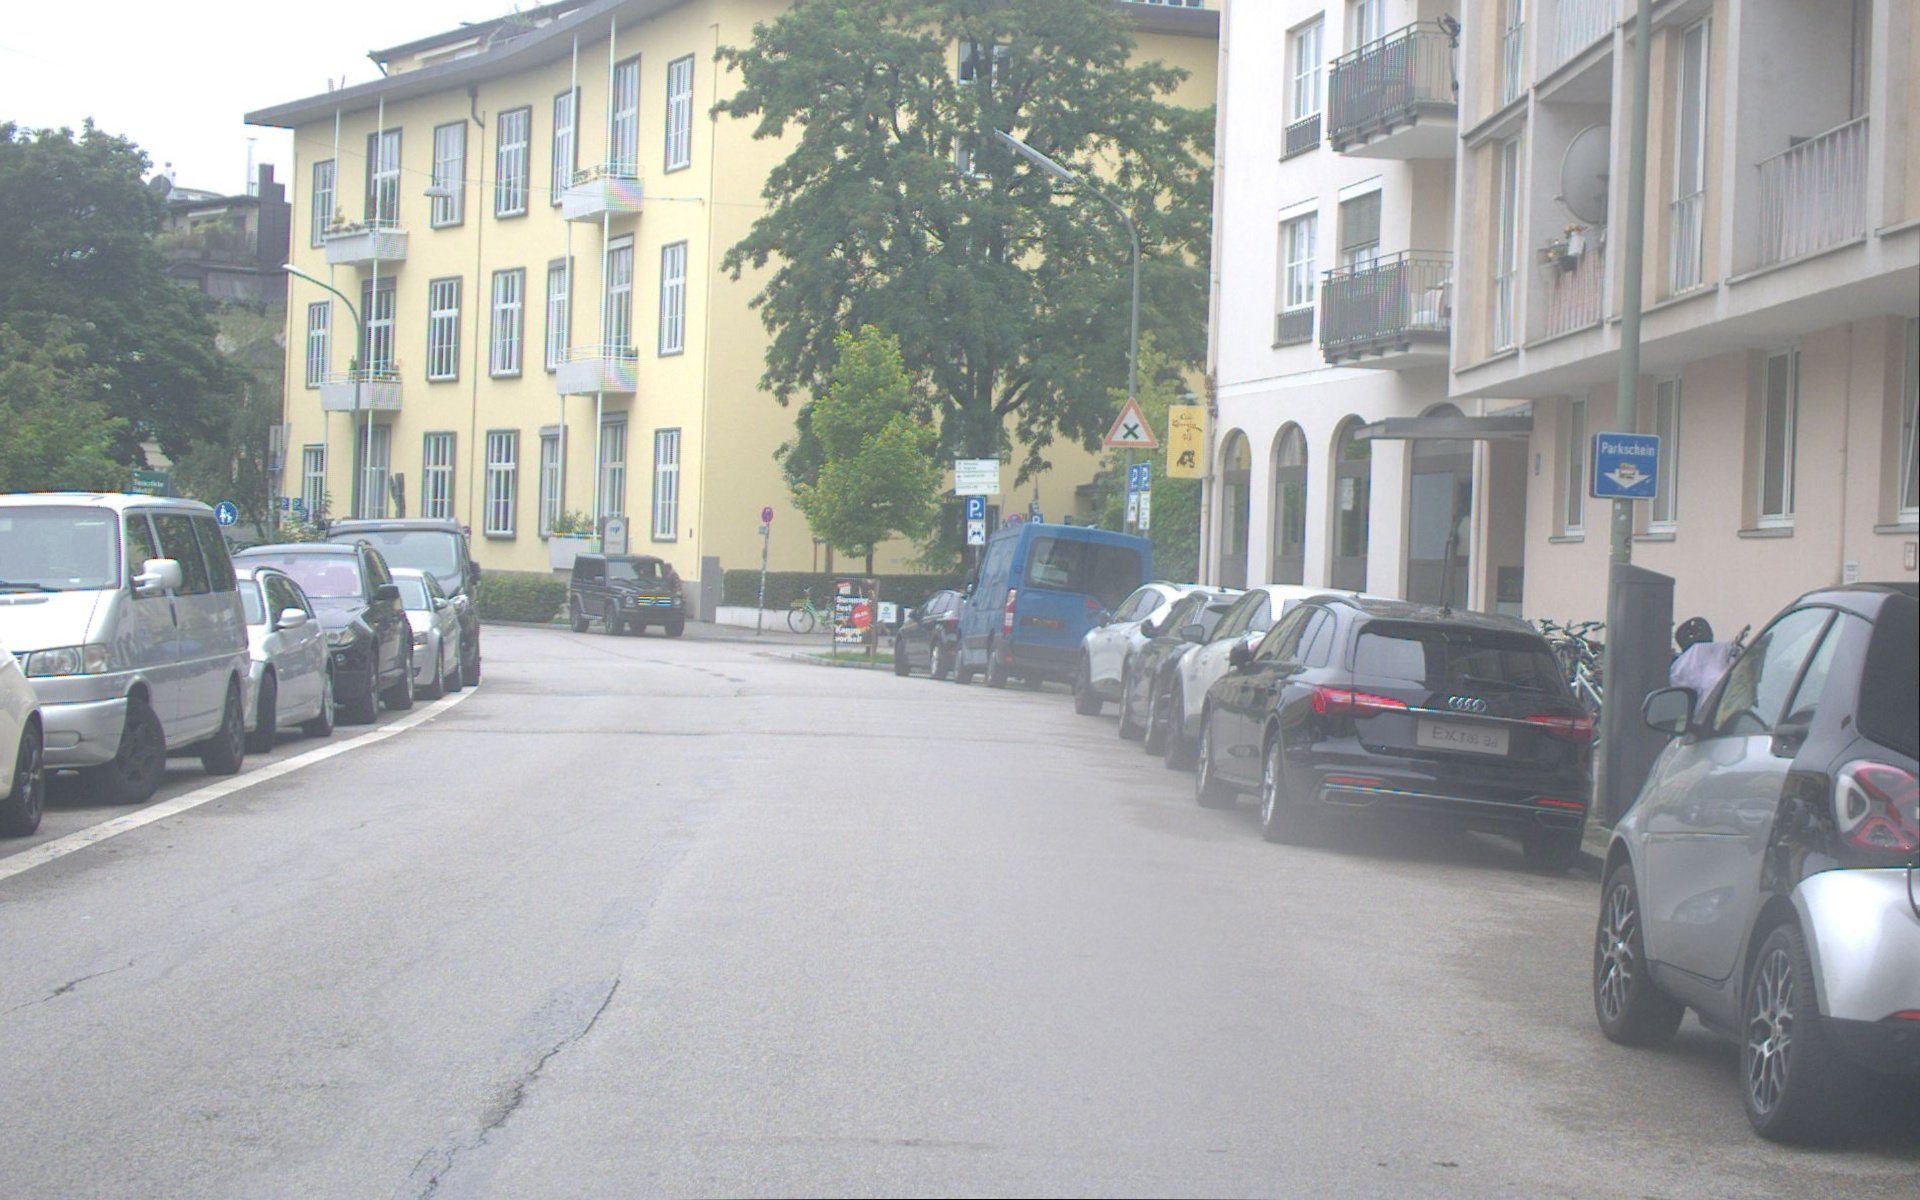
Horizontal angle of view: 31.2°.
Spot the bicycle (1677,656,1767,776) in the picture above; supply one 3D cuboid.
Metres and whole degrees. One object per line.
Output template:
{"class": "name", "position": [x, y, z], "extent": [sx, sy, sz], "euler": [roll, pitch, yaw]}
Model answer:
{"class": "bicycle", "position": [6.257, 0.942, 28.259], "extent": [0.378, 0.902, 1.392], "euler": [2, 1, -1]}

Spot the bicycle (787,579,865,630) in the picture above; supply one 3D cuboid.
{"class": "bicycle", "position": [-3.330, 0.105, 85.401], "extent": [1.926, 1.197, 0.594], "euler": [3, 1, 35]}

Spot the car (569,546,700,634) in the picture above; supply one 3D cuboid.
{"class": "car", "position": [-8.028, -0.257, 84.335], "extent": [1.762, 1.868, 4.380], "euler": [6, 0, -23]}

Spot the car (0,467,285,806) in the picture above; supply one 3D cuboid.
{"class": "car", "position": [-5.648, 0.199, 21.612], "extent": [1.887, 1.883, 4.774], "euler": [-1, 0, -1]}

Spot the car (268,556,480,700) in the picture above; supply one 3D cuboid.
{"class": "car", "position": [-6.316, 0.256, 37.458], "extent": [1.694, 1.388, 4.501], "euler": [-3, 1, -3]}

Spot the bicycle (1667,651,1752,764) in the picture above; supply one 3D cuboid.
{"class": "bicycle", "position": [6.460, 0.916, 29.665], "extent": [0.378, 0.902, 1.392], "euler": [2, 1, -1]}

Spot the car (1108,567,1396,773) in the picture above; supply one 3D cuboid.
{"class": "car", "position": [2.525, 0.554, 30.997], "extent": [1.880, 1.517, 5.164], "euler": [5, 1, -2]}

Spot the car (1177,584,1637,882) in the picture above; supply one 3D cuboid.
{"class": "car", "position": [2.571, 0.711, 21.020], "extent": [1.745, 1.383, 4.954], "euler": [6, 0, -4]}

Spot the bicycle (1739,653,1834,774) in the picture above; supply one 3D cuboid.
{"class": "bicycle", "position": [6.699, 0.906, 27.896], "extent": [0.378, 0.902, 1.392], "euler": [2, 1, -1]}

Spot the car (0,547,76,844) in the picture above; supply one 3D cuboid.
{"class": "car", "position": [-5.438, 0.473, 16.405], "extent": [1.591, 1.436, 4.019], "euler": [-1, 1, -3]}

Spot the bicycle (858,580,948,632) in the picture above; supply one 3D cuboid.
{"class": "bicycle", "position": [-1.400, 0.144, 84.260], "extent": [2.068, 1.197, 0.595], "euler": [2, 1, 12]}

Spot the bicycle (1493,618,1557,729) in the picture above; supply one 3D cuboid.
{"class": "bicycle", "position": [5.960, 0.763, 36.295], "extent": [0.378, 1.115, 1.392], "euler": [2, 1, -1]}

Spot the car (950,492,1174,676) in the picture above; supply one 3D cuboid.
{"class": "car", "position": [1.343, -0.170, 47.991], "extent": [2.078, 2.226, 5.245], "euler": [6, -2, -8]}

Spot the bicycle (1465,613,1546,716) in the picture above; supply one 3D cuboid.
{"class": "bicycle", "position": [6.286, 0.729, 39.682], "extent": [0.455, 1.107, 1.854], "euler": [2, 1, -4]}

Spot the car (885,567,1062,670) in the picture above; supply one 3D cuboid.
{"class": "car", "position": [0.167, 0.262, 54.116], "extent": [1.676, 1.384, 4.307], "euler": [6, 0, -14]}

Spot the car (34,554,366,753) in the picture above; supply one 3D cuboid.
{"class": "car", "position": [-5.941, 0.361, 27.398], "extent": [1.653, 1.409, 4.771], "euler": [-1, 1, -1]}

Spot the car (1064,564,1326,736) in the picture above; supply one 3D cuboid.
{"class": "car", "position": [2.401, 0.471, 36.324], "extent": [1.785, 1.528, 4.649], "euler": [5, 0, -7]}

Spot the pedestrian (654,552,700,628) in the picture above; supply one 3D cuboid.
{"class": "pedestrian", "position": [-6.963, -0.247, 84.569], "extent": [0.874, 1.817, 0.798], "euler": [2, 1, -22]}

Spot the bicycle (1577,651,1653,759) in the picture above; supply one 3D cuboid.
{"class": "bicycle", "position": [5.854, 0.930, 30.747], "extent": [0.378, 0.902, 1.392], "euler": [1, 1, -1]}

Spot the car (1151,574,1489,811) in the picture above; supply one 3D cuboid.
{"class": "car", "position": [2.609, 0.621, 25.964], "extent": [1.694, 1.484, 4.581], "euler": [4, 1, -4]}

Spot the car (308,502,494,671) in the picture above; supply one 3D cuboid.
{"class": "car", "position": [-6.868, -0.181, 42.692], "extent": [2.072, 1.957, 5.351], "euler": [0, 1, -7]}

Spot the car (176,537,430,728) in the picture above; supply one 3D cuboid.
{"class": "car", "position": [-6.059, 0.252, 32.155], "extent": [1.697, 1.637, 4.491], "euler": [-1, 1, -3]}

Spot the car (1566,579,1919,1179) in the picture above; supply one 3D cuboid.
{"class": "car", "position": [2.966, 0.757, 10.228], "extent": [1.650, 1.490, 2.881], "euler": [5, 1, -1]}
